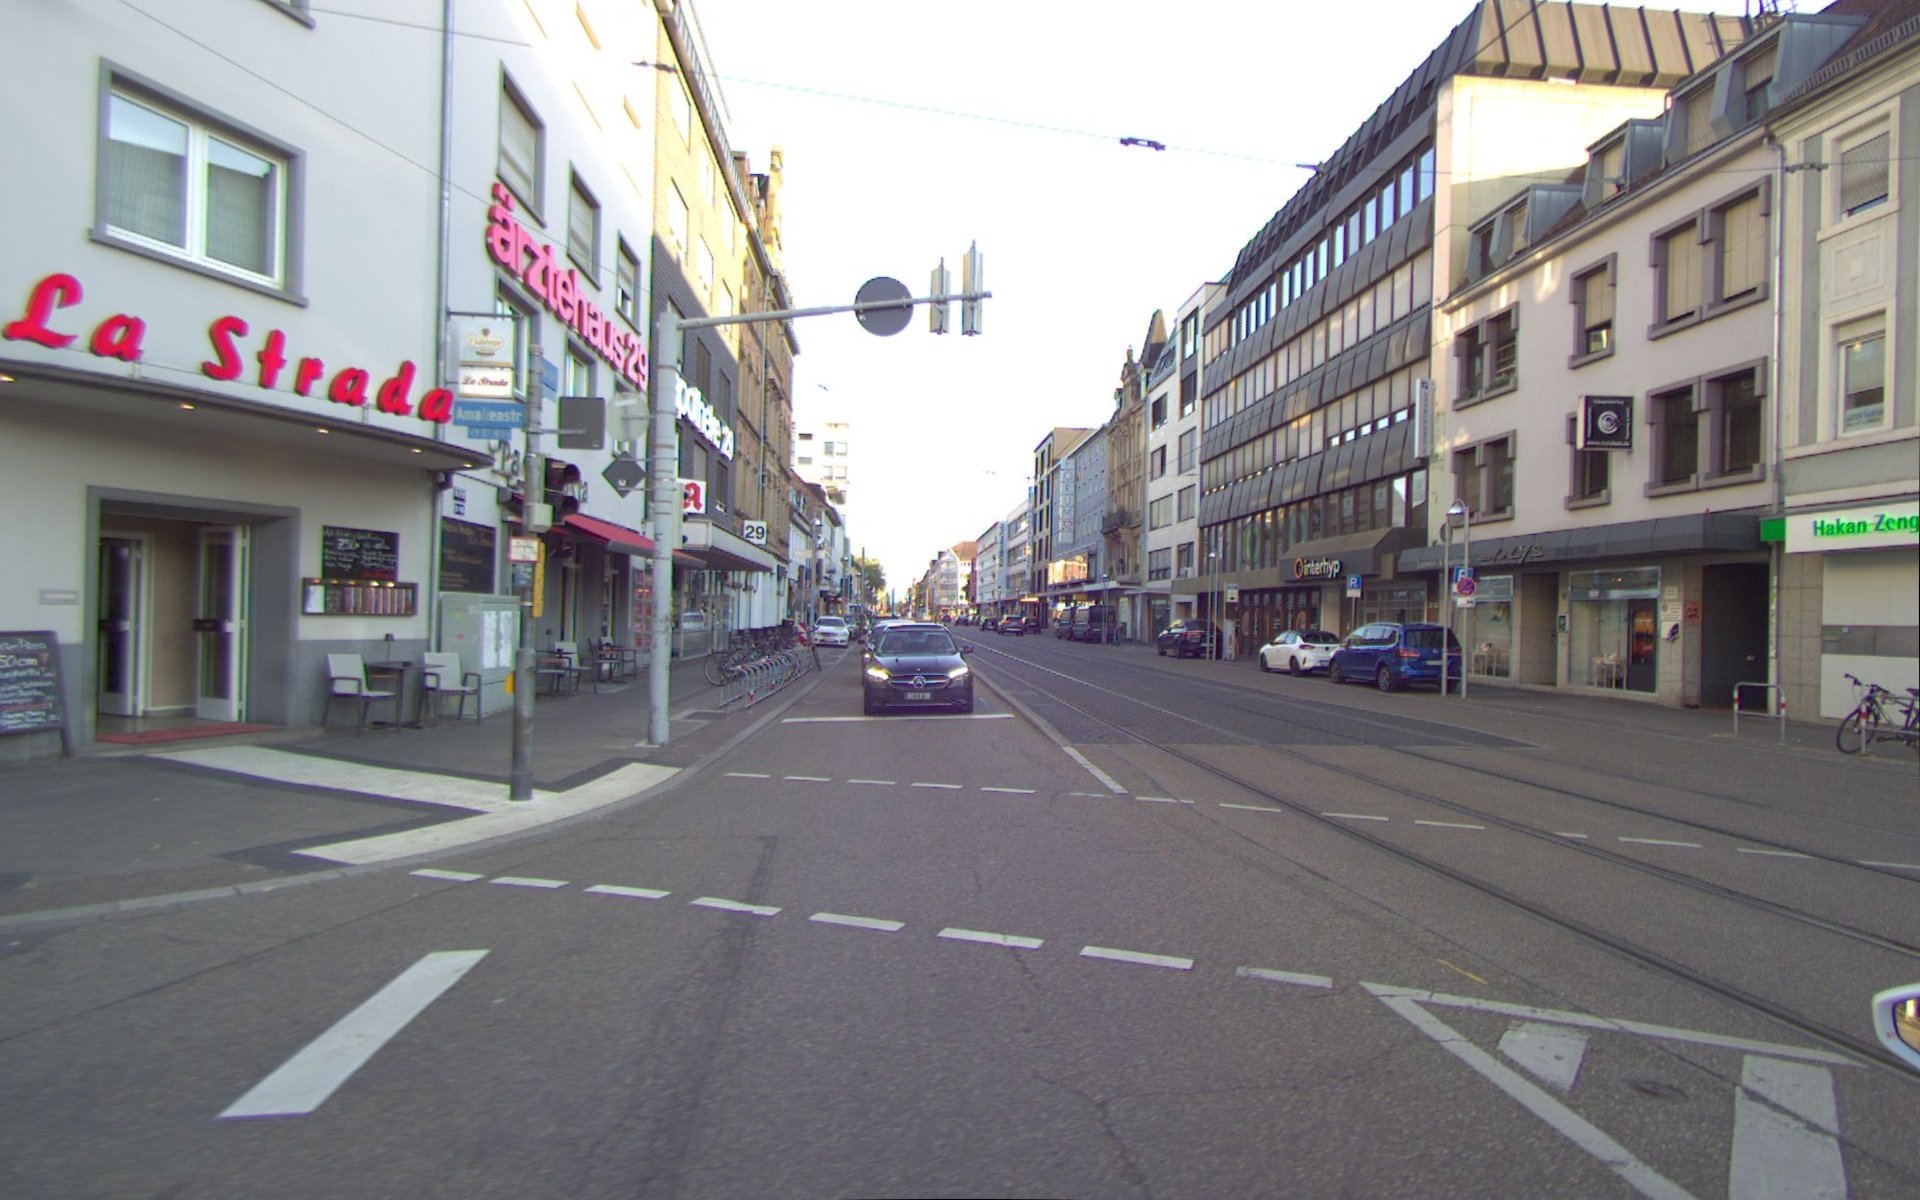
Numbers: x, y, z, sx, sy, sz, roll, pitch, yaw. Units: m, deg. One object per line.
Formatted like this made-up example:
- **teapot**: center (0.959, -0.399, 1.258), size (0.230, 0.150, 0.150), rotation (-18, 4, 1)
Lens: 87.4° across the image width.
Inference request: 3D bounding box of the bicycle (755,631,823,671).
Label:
- **bicycle**: center (-4.939, 1.481, 29.125), size (1.827, 0.996, 0.462), rotation (5, -1, -4)

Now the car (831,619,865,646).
- **car**: center (-6.663, 1.934, 59.967), size (1.706, 1.407, 3.863), rotation (4, -1, -3)

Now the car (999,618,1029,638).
- **car**: center (4.460, 2.318, 83.580), size (1.913, 1.565, 4.543), rotation (2, -1, -3)

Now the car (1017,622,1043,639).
- **car**: center (6.742, 2.954, 97.100), size (1.912, 1.565, 4.543), rotation (0, -1, -3)

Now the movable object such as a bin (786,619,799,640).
- **movable object such as a bin**: center (-9.284, 1.626, 55.685), size (0.580, 1.146, 0.728), rotation (1, -1, -4)

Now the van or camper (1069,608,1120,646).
- **van or camper**: center (9.039, 1.800, 68.047), size (2.154, 2.458, 6.129), rotation (0, -1, -4)

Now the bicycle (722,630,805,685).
- **bicycle**: center (-4.742, 1.382, 24.313), size (1.827, 1.149, 0.607), rotation (5, -1, -4)

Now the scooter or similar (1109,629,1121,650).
- **scooter or similar**: center (9.218, 2.346, 59.869), size (0.349, 1.240, 1.114), rotation (-1, -1, 28)

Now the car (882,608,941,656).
- **car**: center (-1.563, 0.988, 31.894), size (1.730, 1.405, 4.059), rotation (0, -1, -3)

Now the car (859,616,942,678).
- **car**: center (-1.482, 1.101, 25.118), size (1.884, 1.405, 4.561), rotation (0, -1, -3)

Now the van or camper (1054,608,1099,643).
- **van or camper**: center (8.544, 1.832, 74.235), size (2.154, 2.458, 5.513), rotation (0, -1, -5)

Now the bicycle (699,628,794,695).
- **bicycle**: center (-4.547, 1.307, 21.449), size (1.827, 1.242, 0.607), rotation (5, -1, -4)

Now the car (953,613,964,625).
- **car**: center (-0.282, 3.704, 194.833), size (1.912, 2.174, 4.543), rotation (0, -1, -3)

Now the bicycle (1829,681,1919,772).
- **bicycle**: center (12.650, 1.686, 13.439), size (0.470, 1.104, 1.646), rotation (0, -1, -7)

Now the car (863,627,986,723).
- **car**: center (-0.674, 1.227, 17.820), size (1.884, 1.405, 4.561), rotation (0, -1, -3)

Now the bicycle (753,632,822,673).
- **bicycle**: center (-4.902, 1.484, 28.611), size (1.827, 0.996, 0.462), rotation (5, -1, -4)

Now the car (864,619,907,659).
- **car**: center (-2.994, 1.524, 40.544), size (1.640, 1.525, 3.678), rotation (0, -1, -4)

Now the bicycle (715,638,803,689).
- **bicycle**: center (-4.572, 1.436, 22.900), size (1.827, 0.996, 0.607), rotation (5, -1, -4)

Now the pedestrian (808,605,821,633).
- **pedestrian**: center (-9.530, 1.235, 65.750), size (0.637, 1.796, 0.854), rotation (3, -1, -4)

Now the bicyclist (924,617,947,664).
- **bicyclist**: center (-0.868, 1.412, 35.261), size (0.682, 1.586, 0.798), rotation (2, -1, -5)

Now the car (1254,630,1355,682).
- **car**: center (11.131, 1.777, 32.724), size (1.738, 1.505, 3.870), rotation (0, -1, -4)

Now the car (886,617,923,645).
- **car**: center (-2.651, 1.425, 47.041), size (1.640, 1.244, 4.271), rotation (0, -1, -4)

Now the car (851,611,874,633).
- **car**: center (-7.410, 1.630, 76.270), size (1.567, 1.524, 2.811), rotation (4, -1, -5)

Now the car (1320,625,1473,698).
- **car**: center (11.529, 1.562, 26.919), size (1.884, 1.740, 4.561), rotation (0, -1, -3)

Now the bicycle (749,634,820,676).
- **bicycle**: center (-4.858, 1.530, 27.857), size (1.827, 0.996, 0.492), rotation (5, -1, -4)

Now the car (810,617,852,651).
- **car**: center (-6.071, 1.567, 47.653), size (1.732, 1.407, 4.270), rotation (4, -1, -6)

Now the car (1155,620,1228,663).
- **car**: center (10.287, 1.802, 44.935), size (1.952, 1.757, 4.669), rotation (0, -1, -3)

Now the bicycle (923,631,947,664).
- **bicycle**: center (-0.880, 1.657, 35.304), size (0.682, 1.047, 2.080), rotation (2, -1, -5)

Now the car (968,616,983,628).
- **car**: center (2.388, 3.403, 156.453), size (1.912, 1.726, 4.543), rotation (0, -1, -3)
